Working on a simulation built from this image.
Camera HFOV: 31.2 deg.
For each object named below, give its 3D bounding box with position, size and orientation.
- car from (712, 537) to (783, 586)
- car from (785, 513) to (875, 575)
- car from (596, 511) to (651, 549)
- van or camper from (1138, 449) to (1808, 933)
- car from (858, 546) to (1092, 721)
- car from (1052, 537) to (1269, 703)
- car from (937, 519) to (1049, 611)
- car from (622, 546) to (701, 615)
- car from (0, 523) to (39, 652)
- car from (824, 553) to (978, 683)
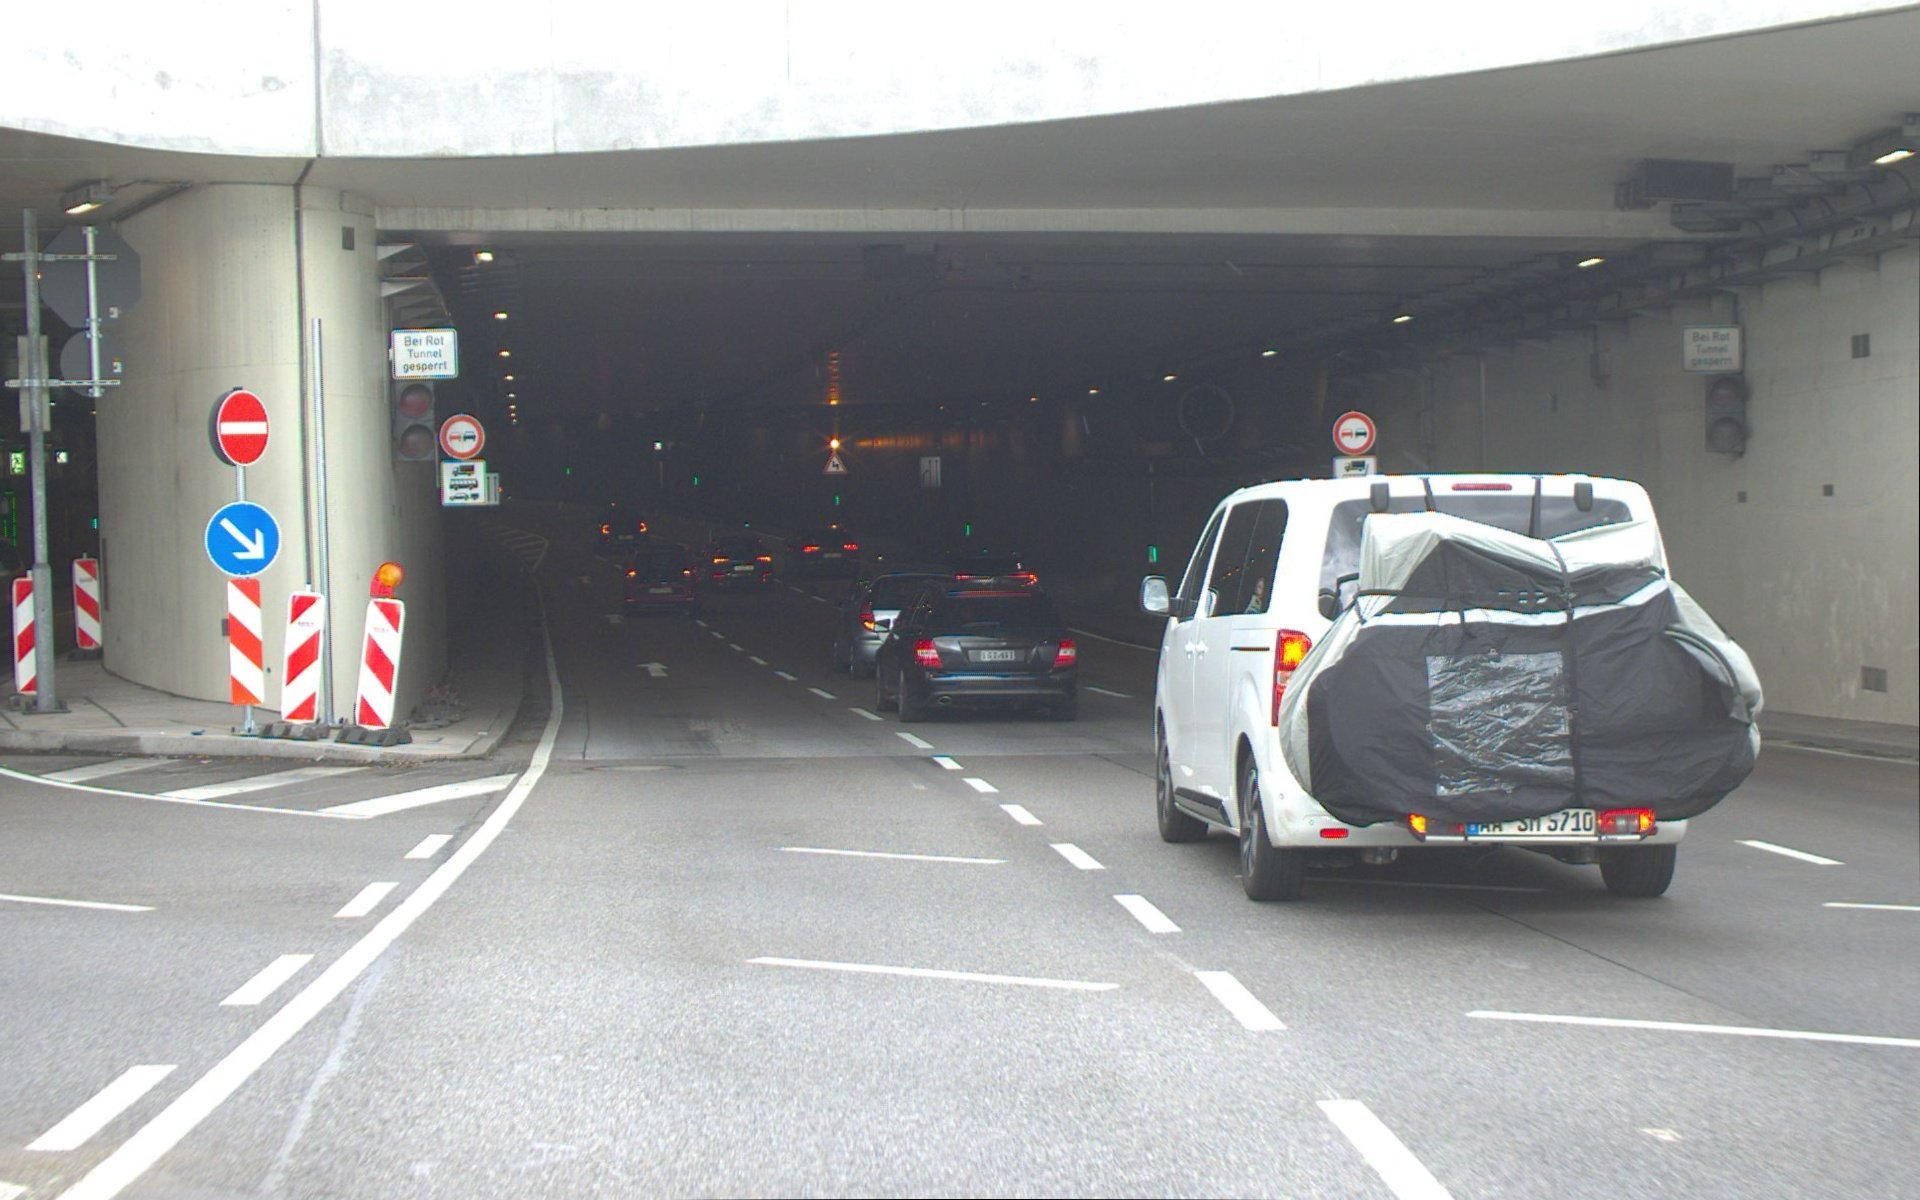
[{"bbox_3d":[-5.561,-0.998,89.580,1.663,1.242,3.568,-1,1,-6],"label":"car"},{"bbox_3d":[-3.704,-1.566,96.964,1.989,1.670,4.509,-1,1,-9],"label":"car"},{"bbox_3d":[-11.394,-2.357,116.288,1.508,1.242,3.568,-1,1,-11],"label":"car"},{"bbox_3d":[2.114,0.339,15.935,1.993,1.839,5.508,1,0,-3],"label":"van or camper"},{"bbox_3d":[0.090,0.312,34.991,1.818,1.678,4.001,0,0,-8],"label":"car"},{"bbox_3d":[2.338,0.195,41.076,1.818,1.743,4.001,3,2,-7],"label":"car"},{"bbox_3d":[0.607,-0.703,66.549,1.660,1.628,3.568,3,2,-6],"label":"car"},{"bbox_3d":[-6.726,-0.449,77.117,1.660,1.483,3.568,-1,1,-6],"label":"car"},{"bbox_3d":[-13.367,-0.157,45.078,1.807,1.599,4.789,-1,2,-7],"label":"car"},{"bbox_3d":[-0.863,0.219,47.700,1.818,1.575,4.001,3,2,-5],"label":"car"}]
